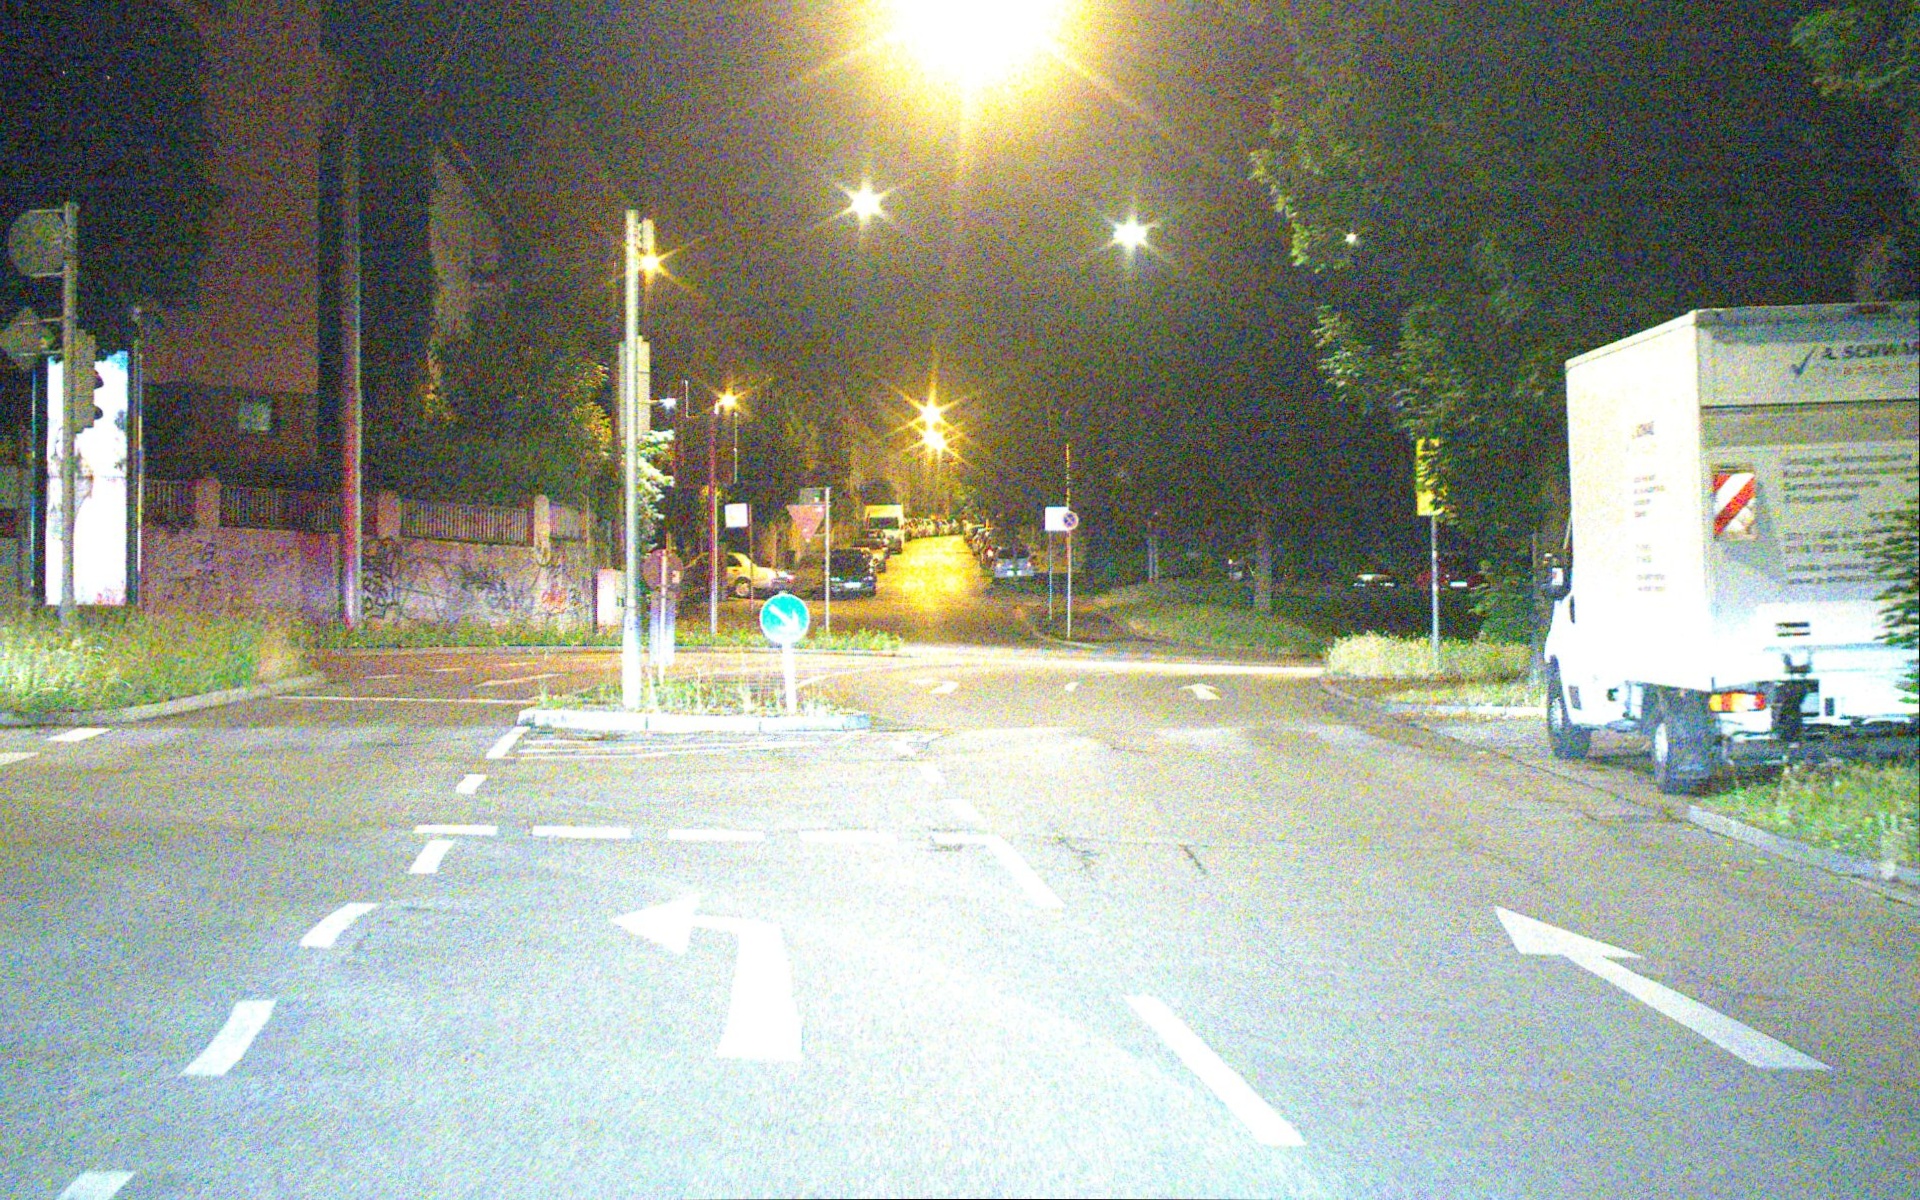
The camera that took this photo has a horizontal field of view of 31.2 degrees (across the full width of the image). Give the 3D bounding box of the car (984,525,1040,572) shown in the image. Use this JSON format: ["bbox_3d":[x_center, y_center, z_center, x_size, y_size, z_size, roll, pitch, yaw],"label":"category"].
[{"bbox_3d":[1.980,-1.986,132.433,1.993,1.763,4.000,1,1,-1],"label":"car"}]

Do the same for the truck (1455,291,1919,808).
[{"bbox_3d":[5.424,-0.353,23.968,2.764,3.034,7.037,-1,1,-1],"label":"truck"}]

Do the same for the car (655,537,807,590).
[{"bbox_3d":[-7.268,-1.155,108.879,4.506,1.552,1.996,2,1,34],"label":"car"}]
